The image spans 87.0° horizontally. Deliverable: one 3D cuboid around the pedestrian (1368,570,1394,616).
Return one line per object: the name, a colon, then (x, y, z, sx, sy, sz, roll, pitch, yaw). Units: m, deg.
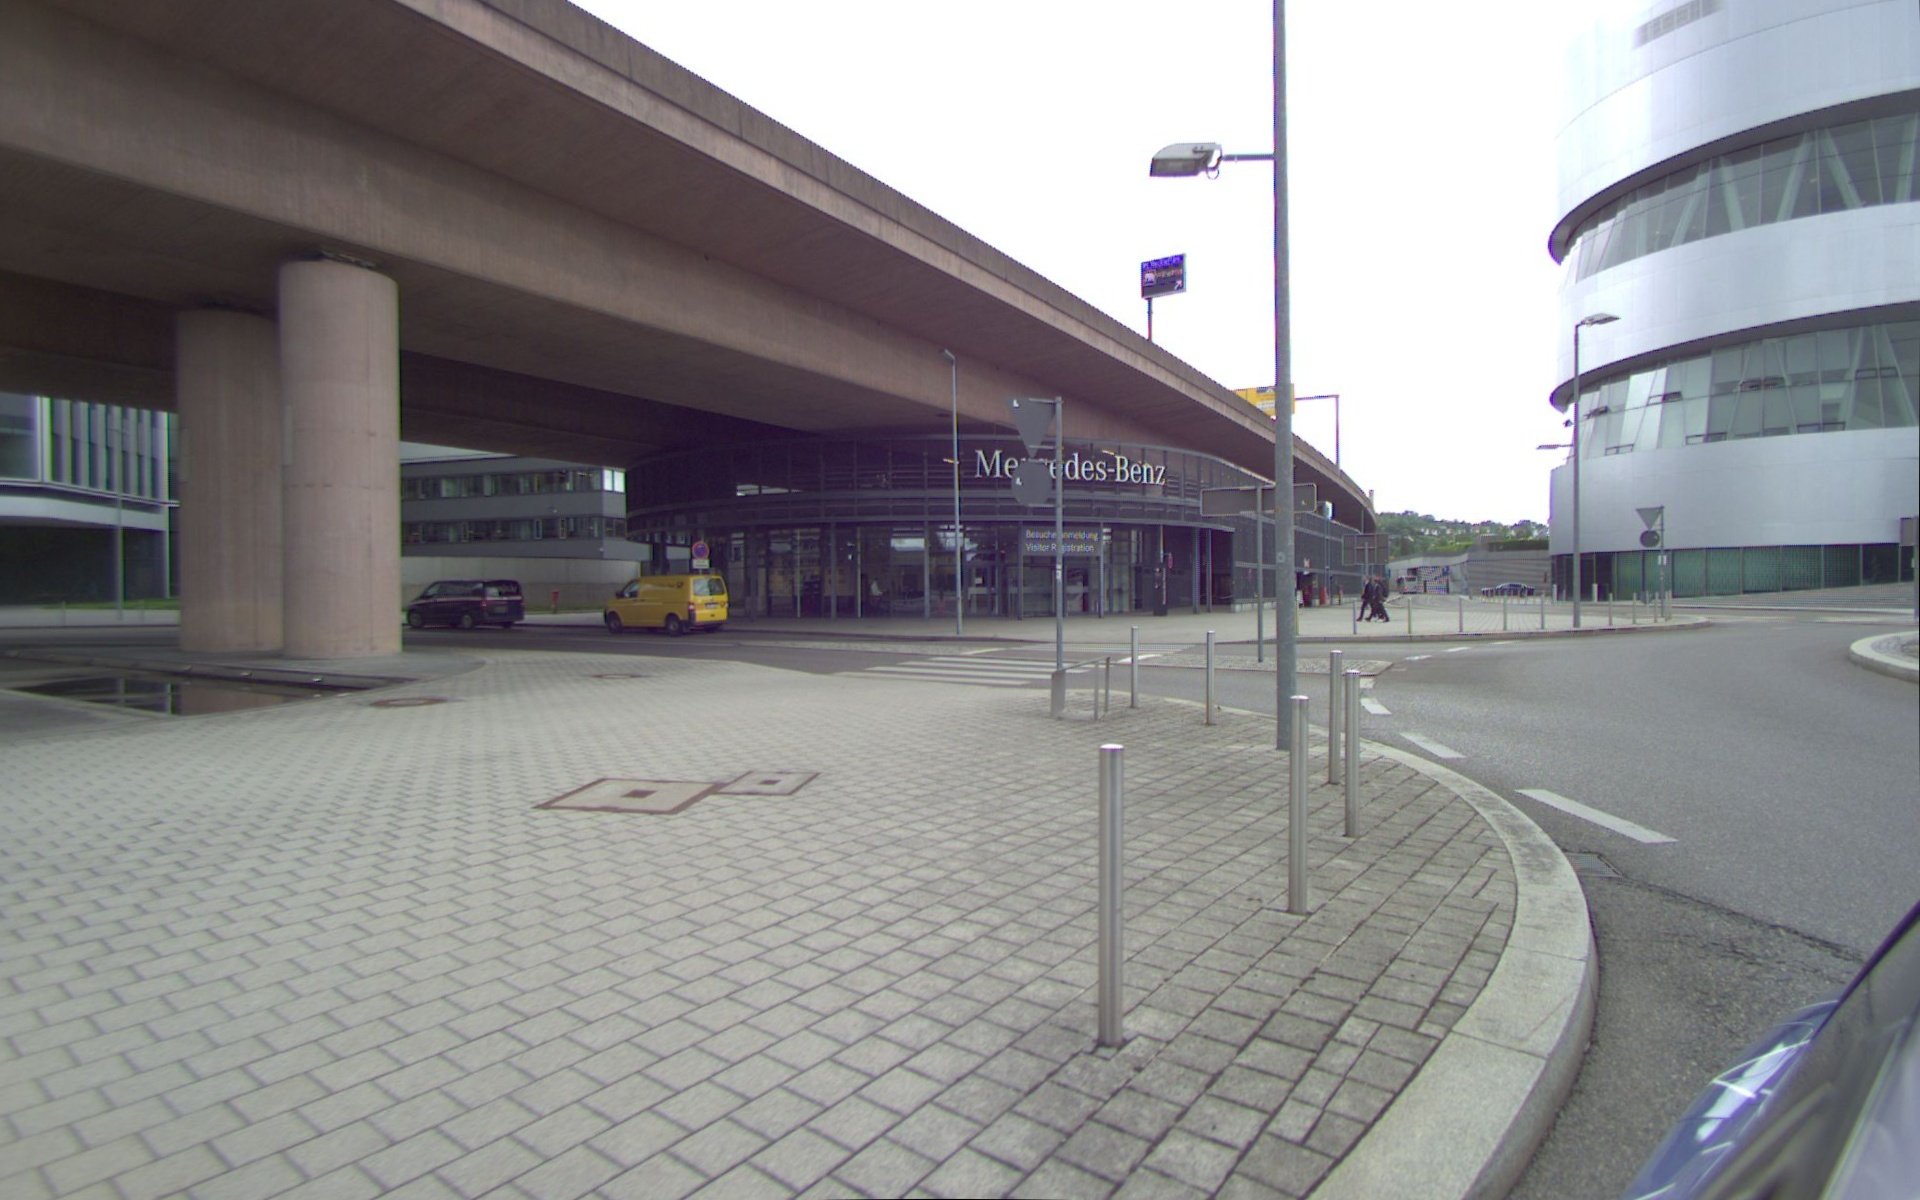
pedestrian: (15.863, -0.251, 38.140, 0.761, 1.727, 0.783, 0, -1, 15)

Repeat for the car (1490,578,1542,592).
car: (59.118, -1.625, 107.660, 4.861, 1.416, 1.520, 0, 0, 28)

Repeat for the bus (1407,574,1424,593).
bus: (90.094, -3.238, 200.106, 2.900, 3.485, 6.910, 0, 0, 24)

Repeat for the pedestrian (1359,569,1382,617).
pedestrian: (15.840, -0.276, 39.078, 0.773, 1.821, 0.860, 0, -1, 19)

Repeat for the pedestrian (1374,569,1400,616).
pedestrian: (15.731, -0.269, 37.286, 0.762, 1.727, 0.861, 0, -1, 16)

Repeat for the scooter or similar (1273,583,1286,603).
scooter or similar: (18.016, -0.383, 57.035, 0.378, 1.137, 1.413, 0, -1, 30)

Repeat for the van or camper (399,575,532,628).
van or camper: (-18.831, 0.036, 38.531, 4.855, 1.917, 2.133, 0, 0, 28)

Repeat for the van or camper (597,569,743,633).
van or camper: (-9.858, 0.004, 34.363, 4.466, 2.024, 2.338, 0, 1, 30)
